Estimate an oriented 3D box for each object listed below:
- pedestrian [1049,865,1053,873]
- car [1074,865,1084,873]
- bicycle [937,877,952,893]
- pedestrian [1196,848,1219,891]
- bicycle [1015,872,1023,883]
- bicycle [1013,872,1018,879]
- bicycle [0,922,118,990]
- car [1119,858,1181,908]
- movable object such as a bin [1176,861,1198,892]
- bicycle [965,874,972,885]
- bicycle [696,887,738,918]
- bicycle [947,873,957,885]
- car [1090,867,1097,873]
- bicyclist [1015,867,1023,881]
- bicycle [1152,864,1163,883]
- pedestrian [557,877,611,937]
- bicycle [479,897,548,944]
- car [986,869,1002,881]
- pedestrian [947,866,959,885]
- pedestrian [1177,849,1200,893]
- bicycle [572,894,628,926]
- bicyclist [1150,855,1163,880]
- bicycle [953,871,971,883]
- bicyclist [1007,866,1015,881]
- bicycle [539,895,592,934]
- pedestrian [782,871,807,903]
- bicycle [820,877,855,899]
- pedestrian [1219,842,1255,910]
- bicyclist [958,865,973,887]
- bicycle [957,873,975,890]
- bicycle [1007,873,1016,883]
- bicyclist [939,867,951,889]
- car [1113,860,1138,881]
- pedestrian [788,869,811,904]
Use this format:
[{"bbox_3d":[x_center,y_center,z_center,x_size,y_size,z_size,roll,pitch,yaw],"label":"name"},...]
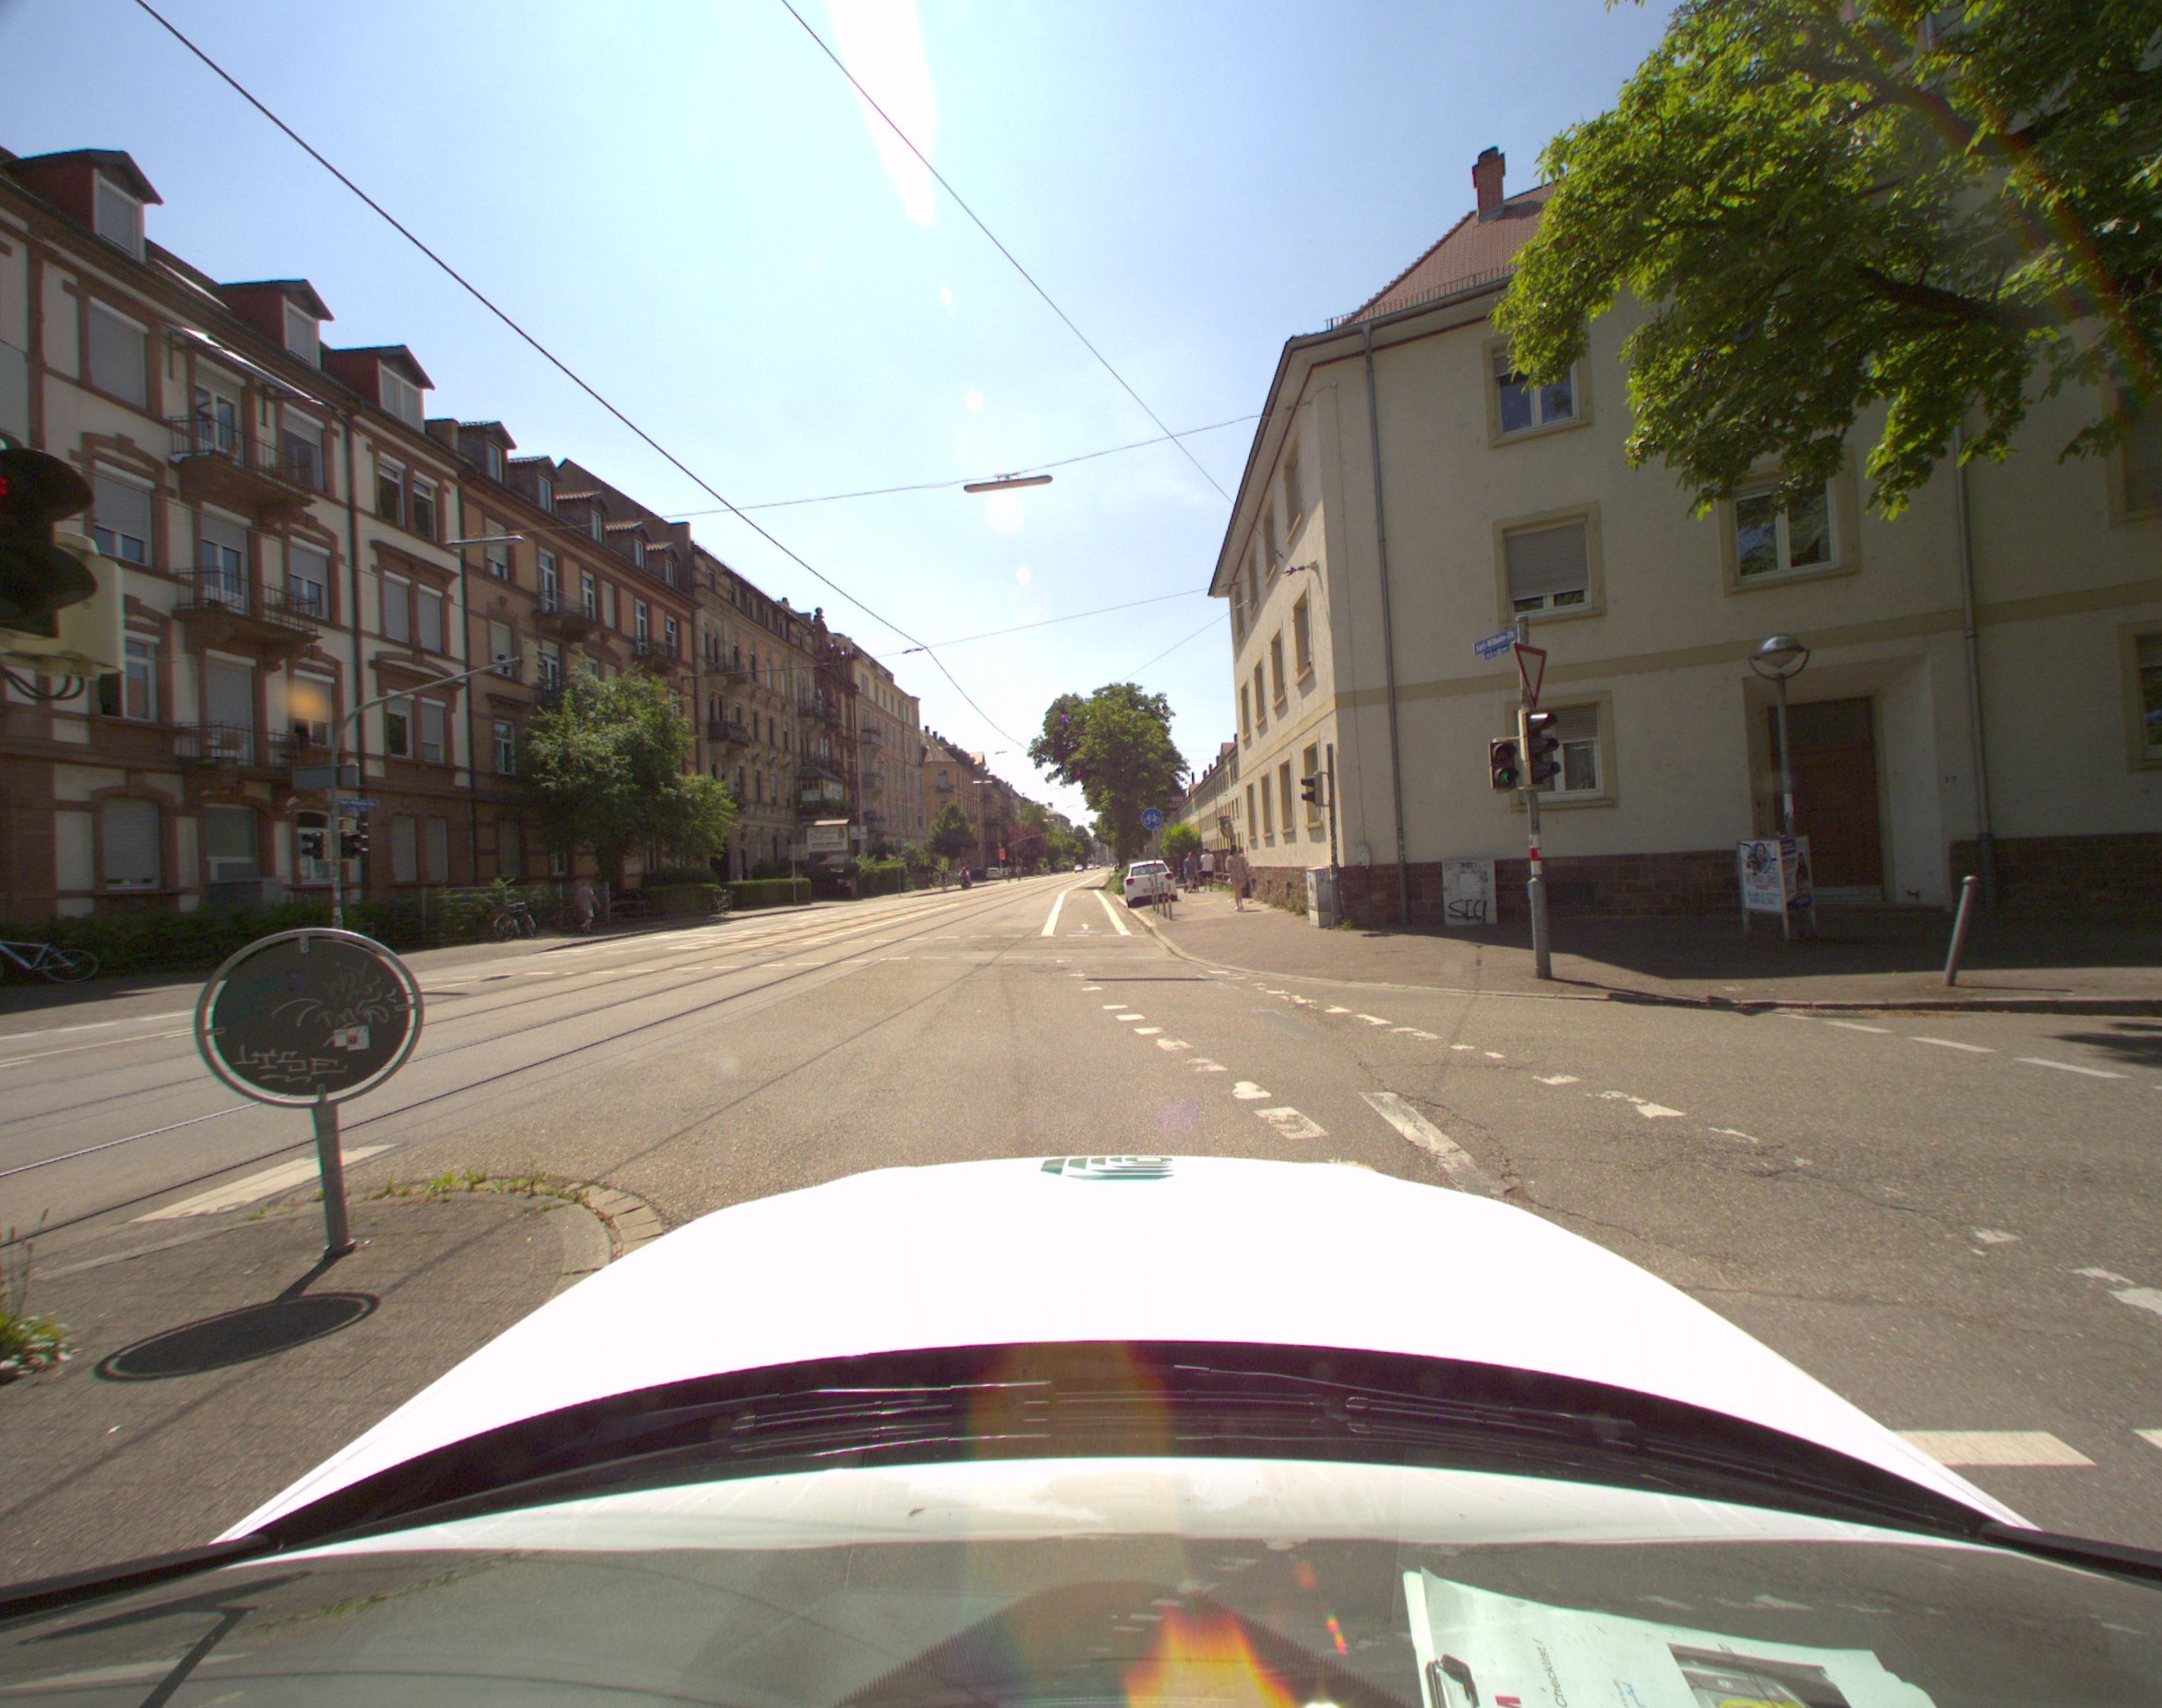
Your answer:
[{"bbox_3d":[-5.982,2.984,160.559,0.748,1.629,0.833,-2,-1,-1],"label":"pedestrian"},{"bbox_3d":[-0.356,2.952,163.149,1.678,1.449,4.002,-3,-1,2],"label":"car"},{"bbox_3d":[-9.559,2.197,57.227,0.565,1.038,1.830,-3,-1,4],"label":"bicycle"},{"bbox_3d":[5.099,0.610,32.861,0.695,1.669,0.756,-6,-1,2],"label":"pedestrian"},{"bbox_3d":[-6.803,2.567,89.658,0.579,1.078,1.892,-4,-1,3],"label":"bicycle"},{"bbox_3d":[-9.335,3.107,116.309,0.452,1.003,1.806,-3,-1,0],"label":"bicycle"},{"bbox_3d":[-19.720,1.932,15.383,0.461,1.108,1.936,-4,-1,41],"label":"bicycle"},{"bbox_3d":[2.330,0.958,28.408,1.771,1.410,4.158,-7,-1,2],"label":"car"},{"bbox_3d":[4.338,0.921,33.456,0.695,1.186,1.037,-6,-1,2],"label":"movable object such as a bin"},{"bbox_3d":[-11.232,2.539,81.235,0.437,0.983,1.711,-3,-1,1],"label":"bicycle"},{"bbox_3d":[-14.540,1.924,32.583,0.635,1.093,1.934,-1,-1,6],"label":"bicycle"},{"bbox_3d":[-11.726,2.262,74.062,0.494,0.987,1.711,1,-1,1],"label":"bicycle"},{"bbox_3d":[3.380,4.350,222.341,1.748,1.424,4.004,-4,-1,3],"label":"car"},{"bbox_3d":[-6.833,2.182,89.681,0.590,1.544,0.953,-4,-1,2],"label":"bicyclist"},{"bbox_3d":[4.627,1.163,49.242,0.599,1.051,1.825,-3,-1,5],"label":"bicycle"},{"bbox_3d":[-14.824,1.574,24.326,0.867,1.700,1.016,-3,-1,9],"label":"pedestrian"},{"bbox_3d":[-15.902,1.839,22.868,0.570,1.169,1.719,-3,-1,6],"label":"bicycle"},{"bbox_3d":[-11.449,2.757,107.330,1.861,1.600,4.098,-2,-1,-2],"label":"car"},{"bbox_3d":[-11.959,1.987,76.030,0.848,1.723,1.139,0,-1,3],"label":"pedestrian"},{"bbox_3d":[4.279,0.671,32.509,0.695,1.669,0.869,-6,-1,2],"label":"pedestrian"},{"bbox_3d":[-16.461,1.902,27.875,1.639,0.996,0.496,-3,-1,4],"label":"bicycle"},{"bbox_3d":[4.589,0.817,49.335,0.707,1.452,1.011,-3,-1,5],"label":"bicyclist"},{"bbox_3d":[-12.077,2.335,82.640,1.696,1.037,0.552,-3,-1,7],"label":"bicycle"},{"bbox_3d":[-7.692,2.160,89.712,0.631,1.584,1.029,-4,-1,2],"label":"bicyclist"},{"bbox_3d":[-15.805,1.842,25.022,0.457,1.056,1.567,-3,-1,6],"label":"bicycle"},{"bbox_3d":[-15.818,1.846,44.966,0.899,1.700,0.829,-3,-1,30],"label":"pedestrian"},{"bbox_3d":[-14.191,1.988,47.452,1.864,1.228,0.568,-1,-1,0],"label":"bicycle"},{"bbox_3d":[3.981,0.564,20.813,0.695,1.669,0.756,-3,-1,1],"label":"pedestrian"},{"bbox_3d":[-8.860,1.678,62.484,0.804,1.630,0.981,-3,-1,3],"label":"bicyclist"},{"bbox_3d":[-8.832,2.096,62.483,0.804,1.271,2.553,-3,-1,4],"label":"bicycle"},{"bbox_3d":[-7.659,2.623,89.661,0.626,1.078,1.876,-4,-1,3],"label":"bicycle"},{"bbox_3d":[-9.582,1.677,57.224,0.560,1.515,0.892,-3,-1,3],"label":"bicyclist"},{"bbox_3d":[3.387,1.253,62.239,1.651,1.515,4.000,-3,-1,0],"label":"car"},{"bbox_3d":[-15.188,1.744,43.907,0.867,1.857,0.821,-4,-1,45],"label":"pedestrian"}]
